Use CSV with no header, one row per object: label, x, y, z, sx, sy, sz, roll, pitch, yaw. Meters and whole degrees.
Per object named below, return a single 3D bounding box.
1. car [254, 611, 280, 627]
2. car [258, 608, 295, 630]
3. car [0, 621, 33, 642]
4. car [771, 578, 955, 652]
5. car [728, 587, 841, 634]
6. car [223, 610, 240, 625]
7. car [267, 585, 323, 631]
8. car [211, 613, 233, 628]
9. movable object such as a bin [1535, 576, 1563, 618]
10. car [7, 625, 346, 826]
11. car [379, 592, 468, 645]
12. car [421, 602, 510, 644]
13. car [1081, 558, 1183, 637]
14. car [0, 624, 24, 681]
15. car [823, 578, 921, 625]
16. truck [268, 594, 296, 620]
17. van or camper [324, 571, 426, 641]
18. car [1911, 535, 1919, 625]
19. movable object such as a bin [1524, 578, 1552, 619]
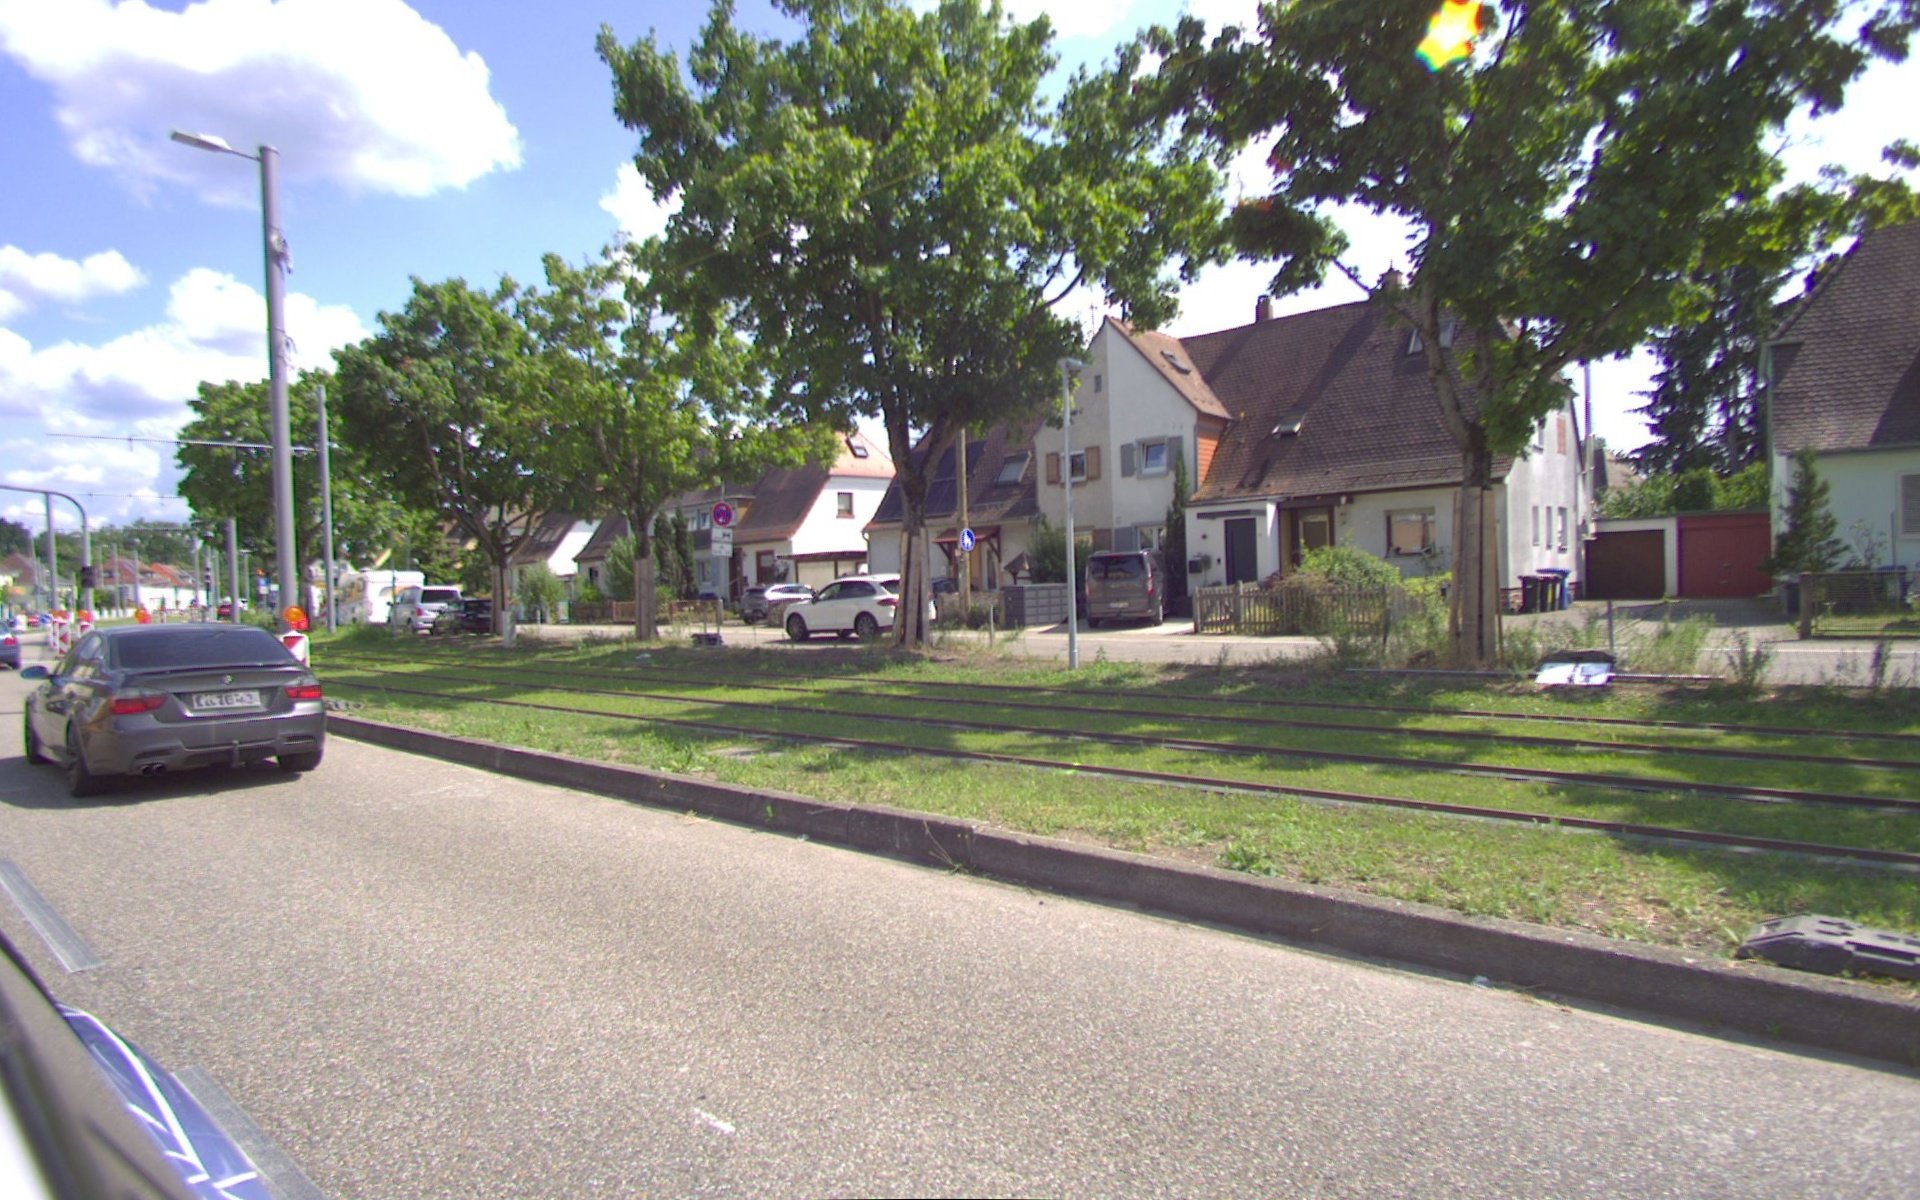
car,-70.583,1.915,103.056,1.701,1.538,4.785,-2,1,-29
car,-47.515,1.304,70.331,1.671,1.475,4.763,-2,1,-39
car,-79.129,2.605,84.547,1.850,1.564,4.997,-2,1,-36
car,-2.674,0.384,27.029,5.080,1.781,1.862,-1,1,41
car,-6.674,0.381,38.708,1.872,1.541,3.947,-1,2,40
car,-93.977,2.250,130.612,1.702,1.868,4.553,-2,1,-35
car,-40.676,0.486,61.823,2.127,2.688,4.923,-2,1,-41
car,-80.269,2.232,110.149,1.702,1.574,4.553,-2,1,-34
movable object such as a bin,14.345,-0.071,24.652,0.499,0.984,0.447,-2,1,41
car,-7.449,0.974,9.465,4.119,1.399,1.707,-1,1,41
car,-22.340,0.760,42.073,1.970,2.029,4.908,-3,1,-44
car,-18.426,0.817,37.606,1.829,1.397,4.816,-3,1,-40
car,4.739,-0.125,27.457,1.929,1.910,3.870,-2,2,21
car,-26.385,1.389,26.945,3.956,1.460,1.648,-1,-2,40
car,-3.644,0.062,42.373,1.798,1.750,3.947,-1,2,40
truck,-89.374,0.903,133.506,2.797,3.177,7.956,-2,1,-32
van or camper,-27.174,0.284,46.871,2.348,2.992,7.302,-2,1,-44
car,17.864,-0.366,15.894,4.037,1.529,1.713,-1,1,37
movable object such as a bin,13.925,-0.038,24.388,0.499,0.984,0.447,-2,1,41
